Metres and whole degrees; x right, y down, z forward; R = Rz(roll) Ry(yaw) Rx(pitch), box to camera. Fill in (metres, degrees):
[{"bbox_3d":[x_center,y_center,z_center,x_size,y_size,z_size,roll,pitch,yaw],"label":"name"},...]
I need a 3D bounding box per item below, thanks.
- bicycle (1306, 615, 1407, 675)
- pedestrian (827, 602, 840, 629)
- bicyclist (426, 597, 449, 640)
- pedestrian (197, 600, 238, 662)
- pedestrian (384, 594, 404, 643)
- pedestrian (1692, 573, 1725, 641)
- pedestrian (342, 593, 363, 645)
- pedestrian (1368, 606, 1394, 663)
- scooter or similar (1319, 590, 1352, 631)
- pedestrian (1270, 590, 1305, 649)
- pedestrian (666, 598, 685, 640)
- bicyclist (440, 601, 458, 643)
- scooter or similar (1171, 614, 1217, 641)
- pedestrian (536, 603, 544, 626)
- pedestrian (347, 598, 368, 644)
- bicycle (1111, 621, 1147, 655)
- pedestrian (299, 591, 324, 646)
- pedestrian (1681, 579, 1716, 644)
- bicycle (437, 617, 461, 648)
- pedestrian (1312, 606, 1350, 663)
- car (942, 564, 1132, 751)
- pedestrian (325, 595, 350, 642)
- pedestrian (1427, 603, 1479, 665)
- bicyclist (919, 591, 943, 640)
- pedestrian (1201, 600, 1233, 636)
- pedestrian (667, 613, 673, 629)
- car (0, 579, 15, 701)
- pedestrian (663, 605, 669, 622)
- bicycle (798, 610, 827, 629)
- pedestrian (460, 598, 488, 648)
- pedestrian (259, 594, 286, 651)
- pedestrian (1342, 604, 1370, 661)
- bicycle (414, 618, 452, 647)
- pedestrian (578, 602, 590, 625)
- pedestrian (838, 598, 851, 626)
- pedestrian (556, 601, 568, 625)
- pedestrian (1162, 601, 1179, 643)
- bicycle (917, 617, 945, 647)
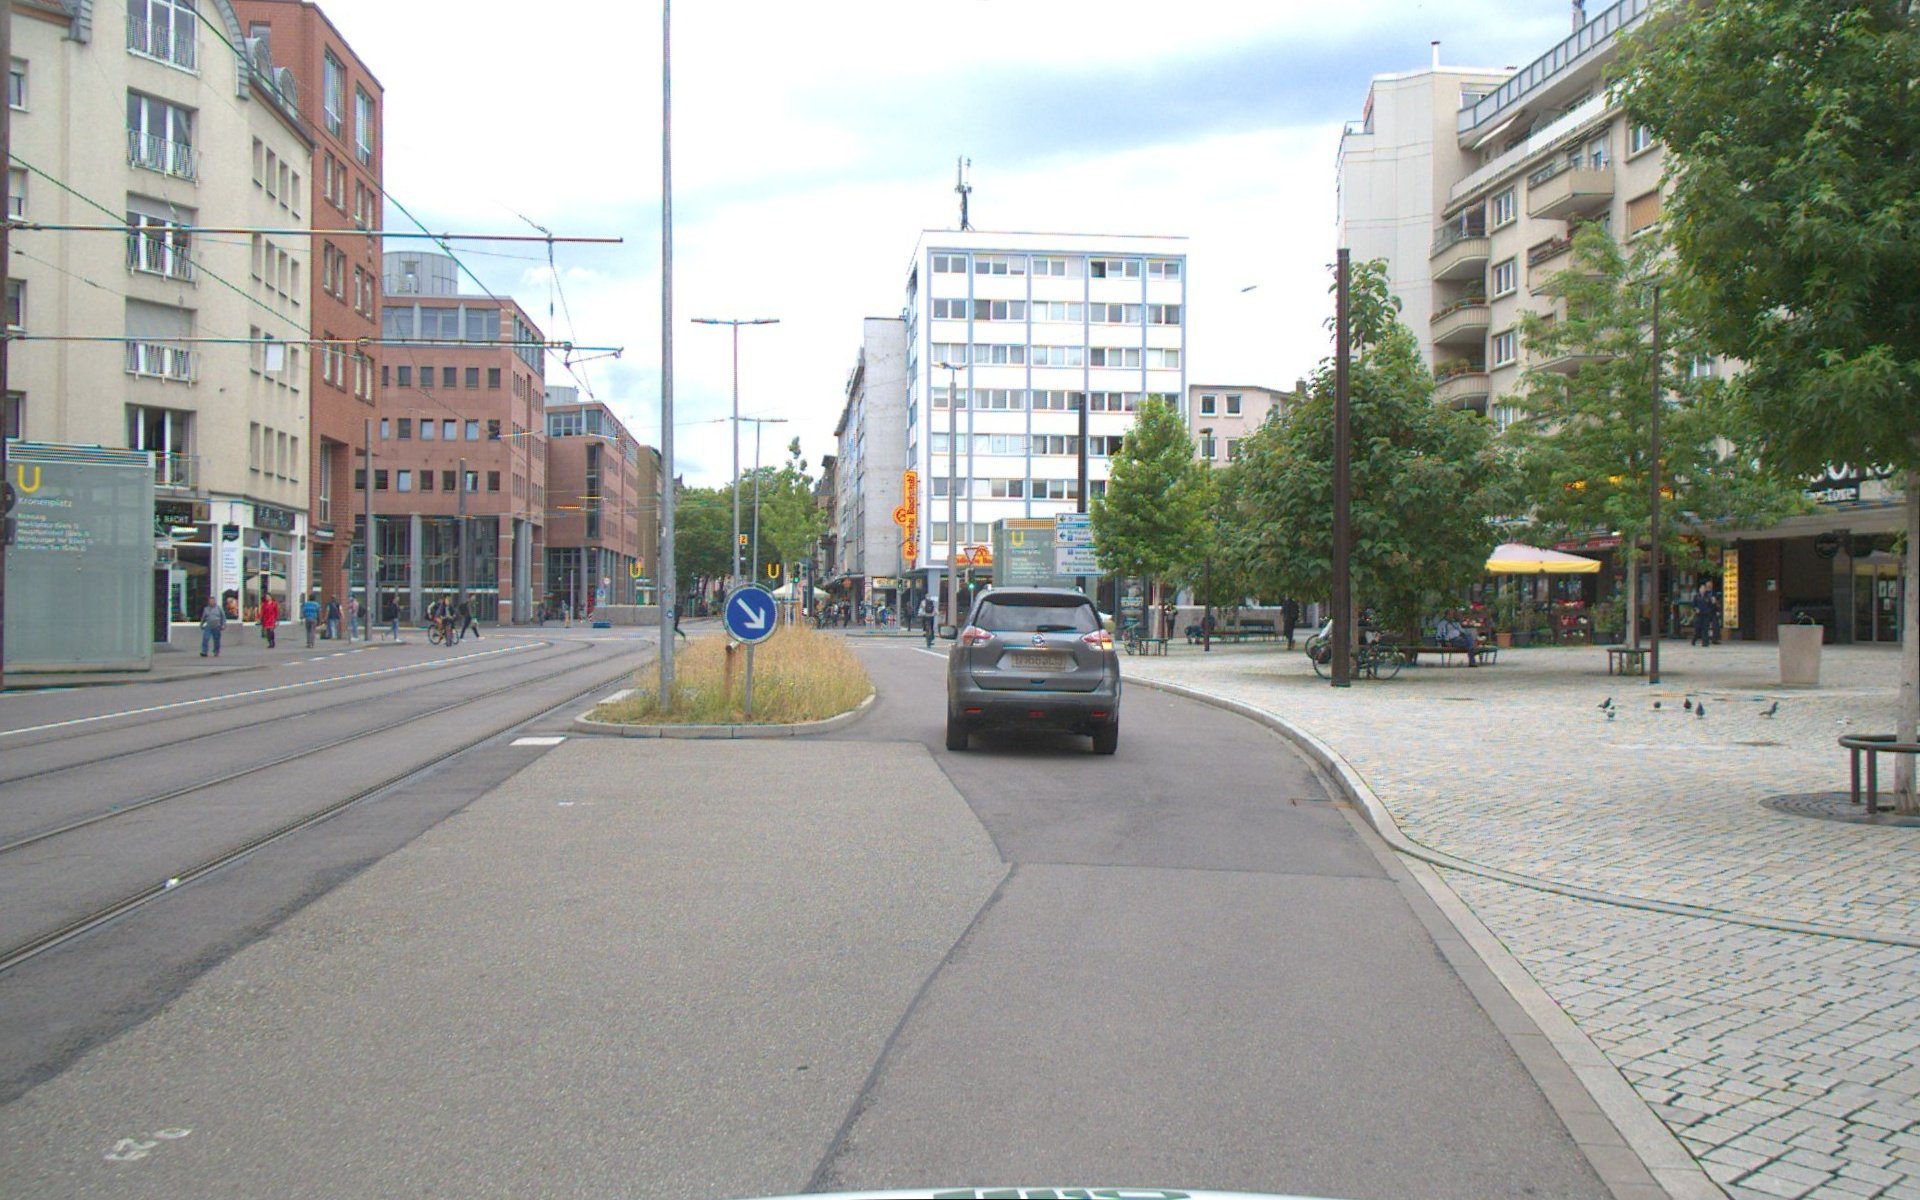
[{"bbox_3d":[7.876,0.899,32.919,1.874,1.142,0.645,1,-1,4],"label":"bicycle"},{"bbox_3d":[-8.344,1.007,109.105,0.720,1.776,0.660,1,-1,-15],"label":"pedestrian"},{"bbox_3d":[-19.225,0.672,60.833,0.797,1.567,0.490,-1,-1,42],"label":"bicyclist"},{"bbox_3d":[-21.013,0.880,46.827,0.705,1.717,0.825,-1,-2,13],"label":"pedestrian"},{"bbox_3d":[-22.488,0.745,65.691,0.599,1.923,0.797,0,-2,-9],"label":"pedestrian"},{"bbox_3d":[21.417,0.196,47.306,0.759,1.918,0.850,1,-1,32],"label":"pedestrian"},{"bbox_3d":[-20.137,0.639,54.835,0.650,1.717,0.719,0,-2,-19],"label":"pedestrian"},{"bbox_3d":[10.561,0.856,41.516,0.531,1.390,1.281,1,-1,11],"label":"pedestrian"},{"bbox_3d":[16.990,0.480,74.932,1.061,1.838,2.274,0,0,2],"label":"scooter or similar"},{"bbox_3d":[10.435,0.622,52.715,0.700,1.834,1.076,-2,-1,-7],"label":"pedestrian"},{"bbox_3d":[-11.726,0.783,68.187,0.730,1.713,0.797,2,-2,-11],"label":"pedestrian"},{"bbox_3d":[-17.570,0.743,56.874,0.470,1.431,0.810,0,-1,-8],"label":"bicyclist"},{"bbox_3d":[8.846,1.034,62.567,1.558,0.965,0.723,-2,-1,32],"label":"scooter or similar"},{"bbox_3d":[-28.504,0.981,112.177,0.443,1.559,0.518,1,-1,-24],"label":"pedestrian"},{"bbox_3d":[-22.695,0.784,62.337,0.559,1.713,0.797,2,-2,-11],"label":"pedestrian"},{"bbox_3d":[5.214,1.160,50.988,0.644,0.995,1.754,0,-1,22],"label":"bicycle"},{"bbox_3d":[-20.503,0.598,52.272,0.649,1.717,0.719,0,-2,-16],"label":"pedestrian"},{"bbox_3d":[20.666,0.327,46.301,0.759,1.782,0.716,-2,0,32],"label":"pedestrian"},{"bbox_3d":[-17.570,1.102,56.873,0.470,1.039,1.908,0,0,-8],"label":"bicycle"},{"bbox_3d":[9.142,0.843,40.766,0.620,1.390,0.682,1,-1,-25],"label":"pedestrian"},{"bbox_3d":[0.734,0.635,18.559,1.825,1.806,4.565,-1,-2,-1],"label":"car"},{"bbox_3d":[-22.934,0.686,60.919,0.856,1.717,0.658,0,-2,-21],"label":"pedestrian"},{"bbox_3d":[11.324,0.774,38.010,0.616,1.390,1.407,1,-1,-7],"label":"pedestrian"},{"bbox_3d":[-1.099,0.587,62.339,0.818,1.844,0.877,1,-1,-4],"label":"bicyclist"},{"bbox_3d":[9.687,0.669,62.344,1.023,1.320,0.733,-1,-1,-1],"label":"pedestrian"},{"bbox_3d":[-31.267,2.273,178.327,0.590,1.744,0.653,1,-1,-14],"label":"pedestrian"},{"bbox_3d":[-15.609,0.627,23.828,1.867,1.897,4.512,-1,0,-8],"label":"car"},{"bbox_3d":[-29.890,1.390,168.183,0.590,1.744,0.653,1,-1,-14],"label":"pedestrian"},{"bbox_3d":[-9.747,1.275,109.349,1.840,1.192,0.527,1,-1,-21],"label":"bicycle"},{"bbox_3d":[-19.221,0.920,65.397,0.880,1.923,0.797,2,-2,-9],"label":"pedestrian"},{"bbox_3d":[-21.177,0.700,50.966,0.709,1.717,0.659,0,-2,-17],"label":"pedestrian"},{"bbox_3d":[9.867,0.802,41.207,0.614,1.390,0.920,1,-1,11],"label":"pedestrian"},{"bbox_3d":[-19.451,1.185,61.044,1.878,1.039,0.475,-1,-1,42],"label":"bicycle"},{"bbox_3d":[-30.452,1.088,133.894,0.725,1.874,0.694,2,-1,-33],"label":"pedestrian"},{"bbox_3d":[-7.751,0.787,110.707,0.701,1.864,1.013,1,-1,-14],"label":"pedestrian"},{"bbox_3d":[-32.186,1.050,133.693,0.725,1.874,0.695,2,-1,-31],"label":"pedestrian"},{"bbox_3d":[8.929,0.932,70.091,0.657,1.792,0.642,1,-1,9],"label":"pedestrian"},{"bbox_3d":[-1.107,1.188,62.236,0.884,1.063,3.275,0,-1,-4],"label":"bicycle"}]
